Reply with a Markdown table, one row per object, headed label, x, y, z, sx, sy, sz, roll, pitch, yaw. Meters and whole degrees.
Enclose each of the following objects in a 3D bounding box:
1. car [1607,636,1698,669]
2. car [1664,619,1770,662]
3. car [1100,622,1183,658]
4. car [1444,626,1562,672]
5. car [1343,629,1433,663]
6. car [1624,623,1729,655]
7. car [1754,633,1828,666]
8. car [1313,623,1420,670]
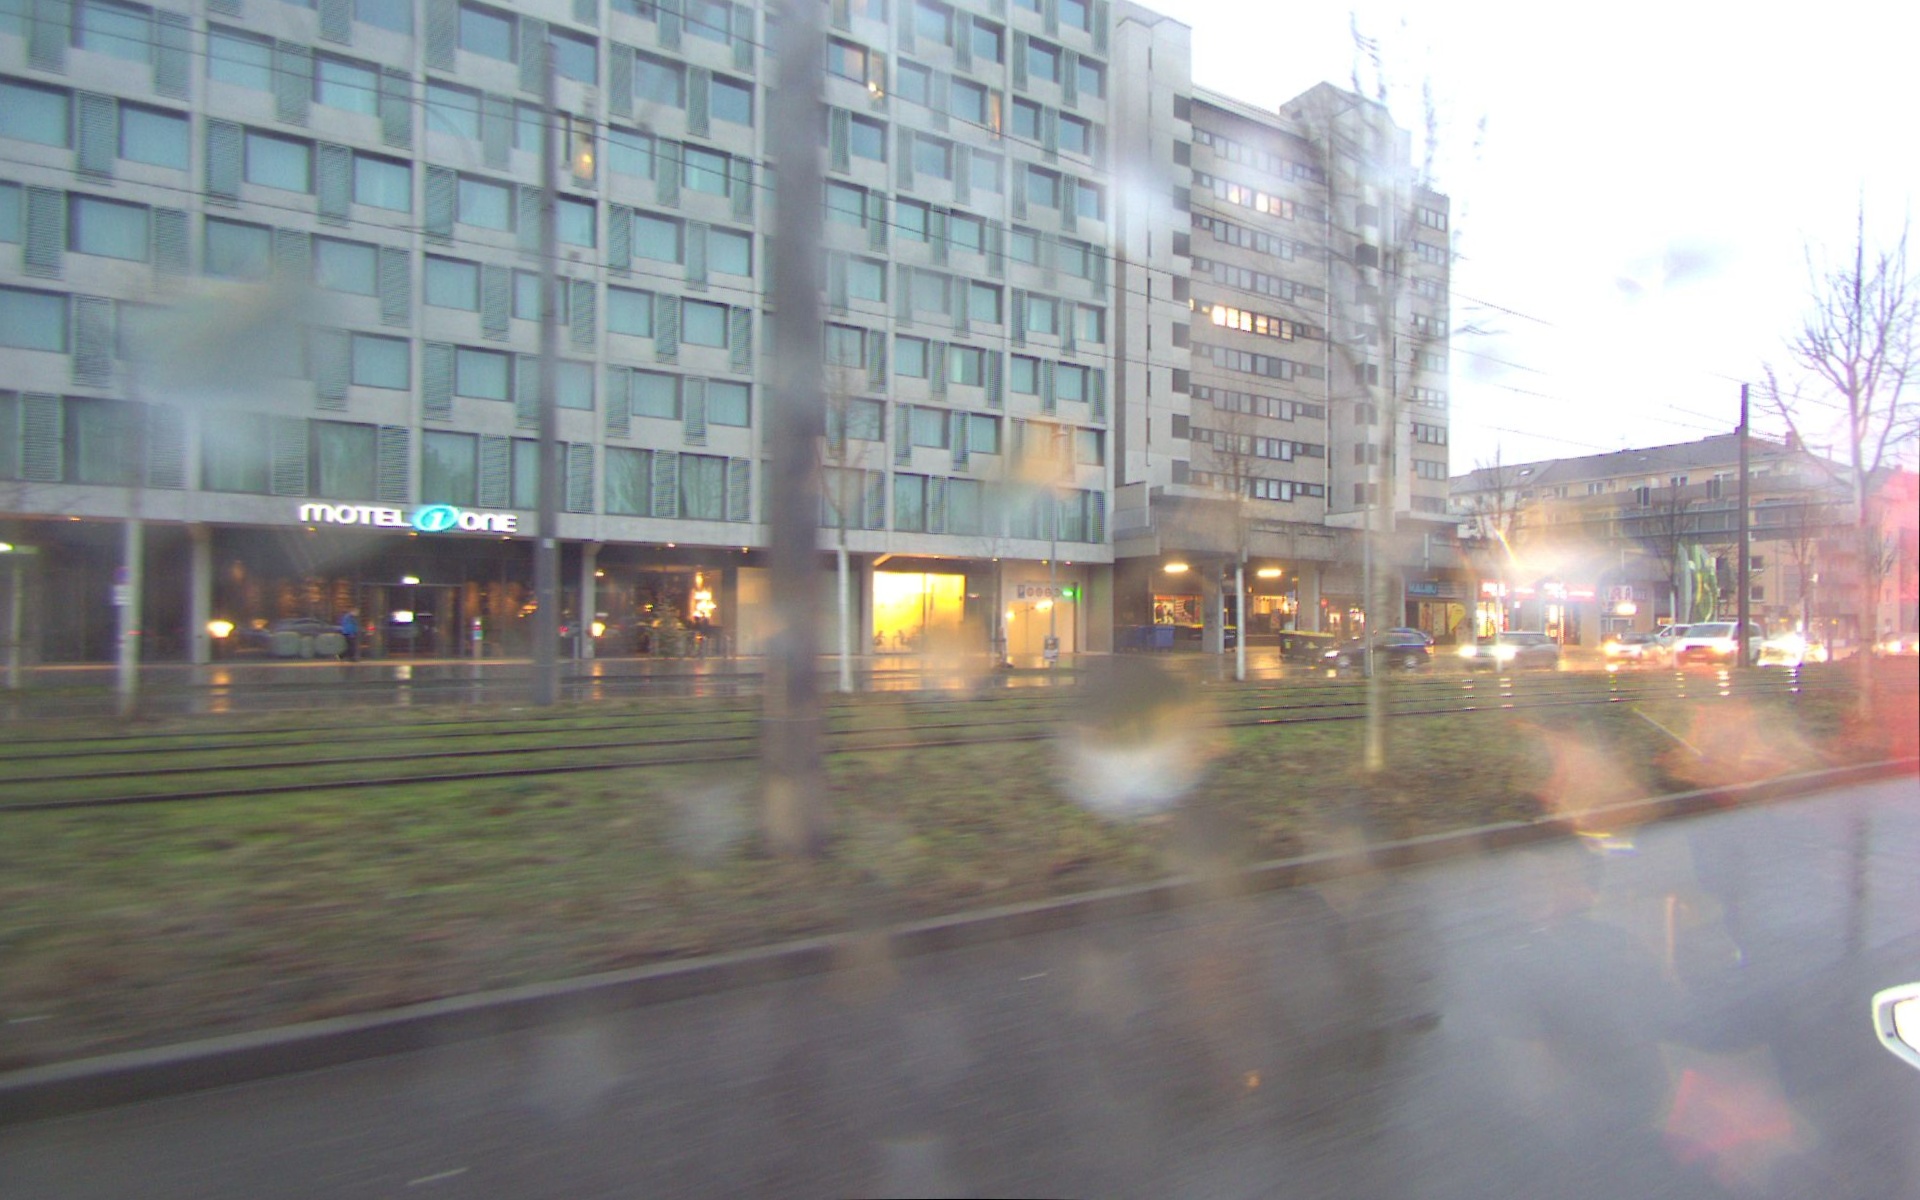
| label | x | y | z | sx | sy | sz | roll | pitch | yaw |
| --- | --- | --- | --- | --- | --- | --- | --- | --- | --- |
| car | 33.844 | 2.523 | 49.066 | 4.736 | 1.536 | 1.887 | 1 | -1 | -30 |
| car | 32.211 | 1.709 | 42.713 | 5.060 | 1.742 | 1.886 | 1 | -1 | -31 |
| car | 9.157 | 1.979 | 50.915 | 1.709 | 1.718 | 4.336 | 1 | -1 | -32 |
| car | 18.150 | 1.613 | 33.555 | 3.664 | 1.450 | 1.886 | 1 | -1 | -31 |
| car | 20.978 | 2.221 | 49.264 | 3.925 | 1.405 | 1.935 | 3 | 1 | 25 |
| car | 45.335 | 2.429 | 63.671 | 5.059 | 1.937 | 2.001 | 0 | -1 | 15 |
| car | 48.049 | 2.835 | 58.068 | 4.476 | 1.837 | 1.887 | 1 | -1 | -30 |
| car | 17.047 | 1.928 | 42.246 | 3.847 | 1.910 | 1.729 | 0 | -1 | 4 |
